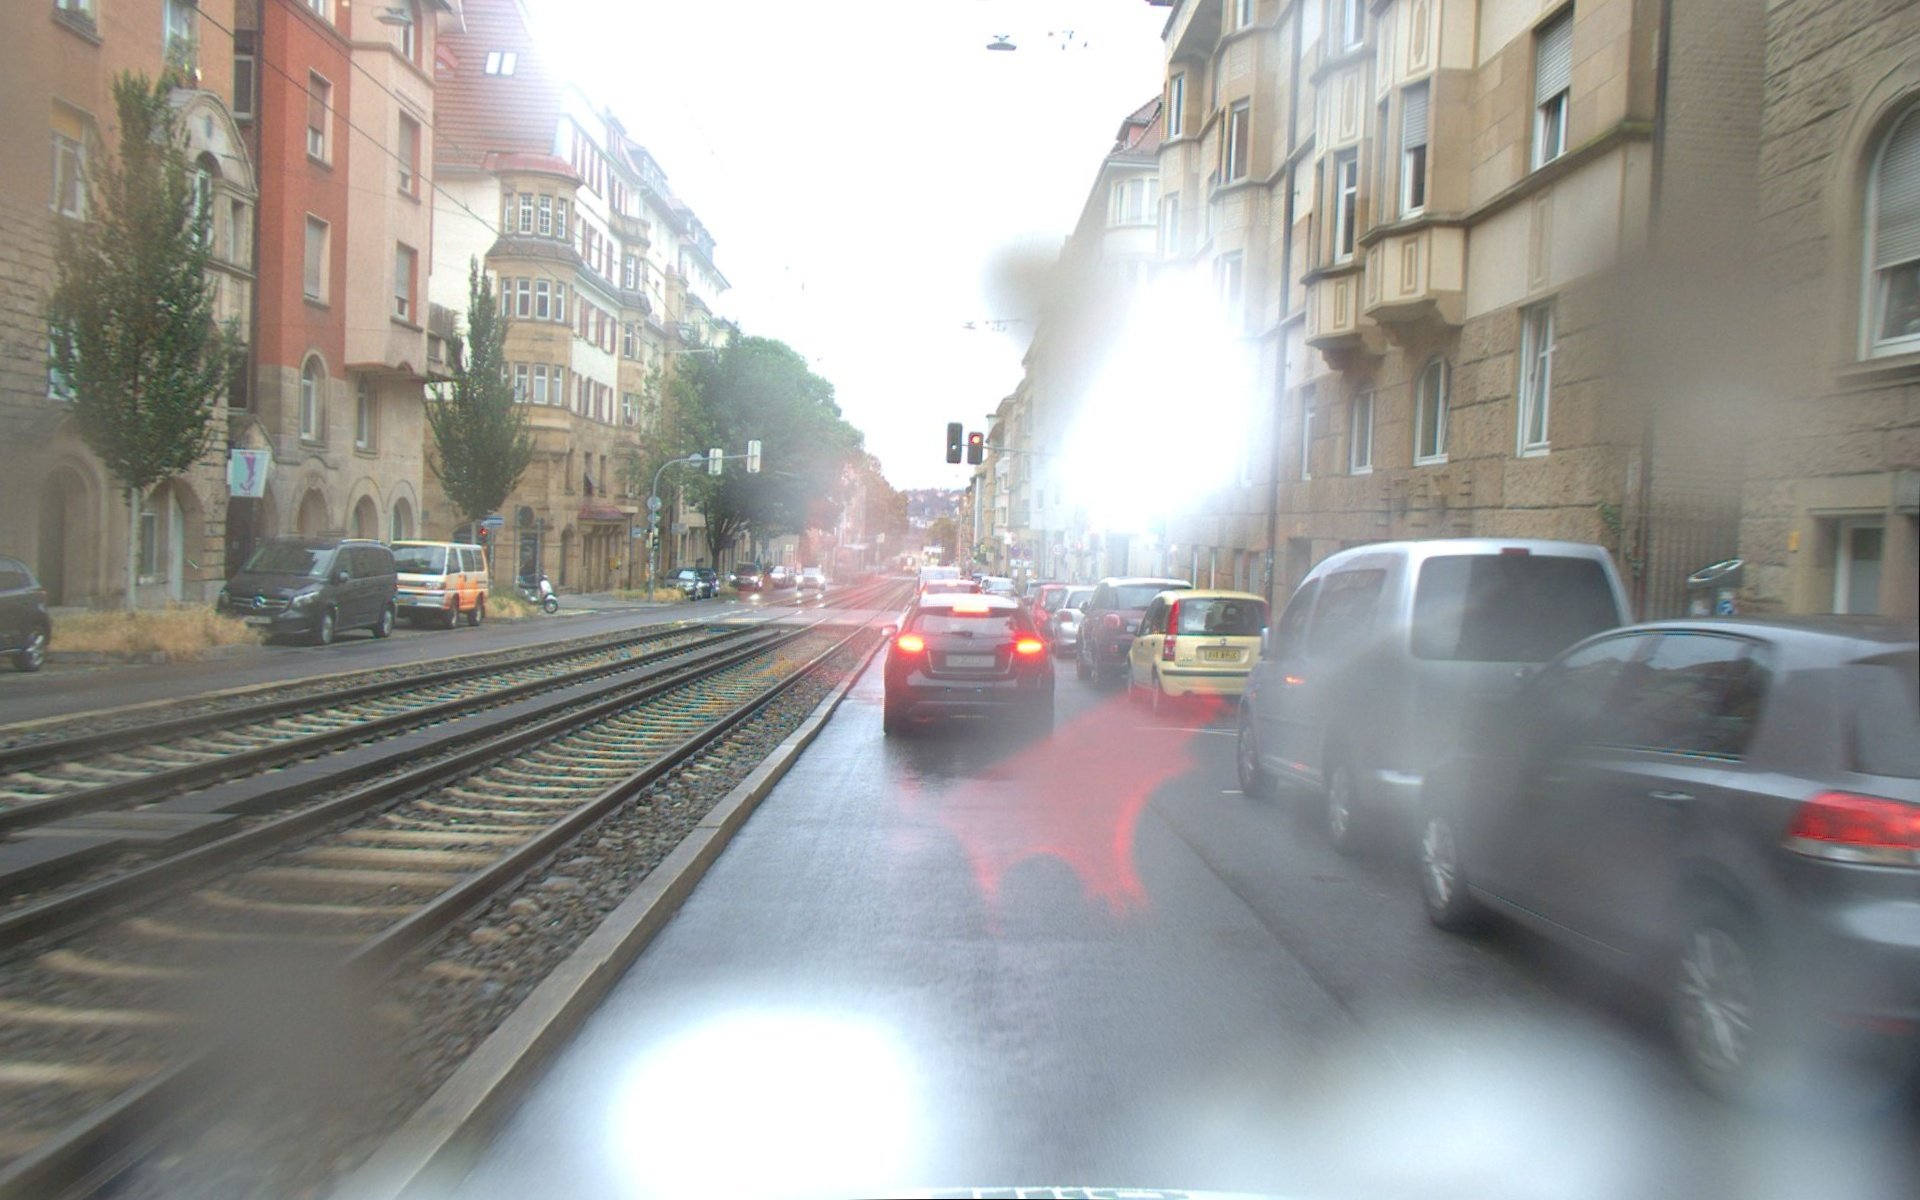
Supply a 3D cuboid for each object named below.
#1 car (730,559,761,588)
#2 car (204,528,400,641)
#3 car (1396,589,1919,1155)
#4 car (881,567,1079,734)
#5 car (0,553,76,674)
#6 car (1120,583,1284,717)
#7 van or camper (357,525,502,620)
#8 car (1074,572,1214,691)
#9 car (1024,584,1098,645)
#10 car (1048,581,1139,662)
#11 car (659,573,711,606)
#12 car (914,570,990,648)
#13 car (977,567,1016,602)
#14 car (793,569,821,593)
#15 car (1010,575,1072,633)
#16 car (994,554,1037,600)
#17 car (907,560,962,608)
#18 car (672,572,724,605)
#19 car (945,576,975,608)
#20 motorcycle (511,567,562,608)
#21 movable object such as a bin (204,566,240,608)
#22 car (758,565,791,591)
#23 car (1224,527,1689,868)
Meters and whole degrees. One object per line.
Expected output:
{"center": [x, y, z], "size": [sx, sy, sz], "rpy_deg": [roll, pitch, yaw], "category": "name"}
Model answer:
{"center": [-13.458, -1.666, 103.900], "size": [1.755, 1.721, 3.994], "rpy_deg": [2, 0, -6], "category": "car"}
{"center": [-12.261, -0.273, 31.194], "size": [1.954, 1.934, 4.696], "rpy_deg": [1, 0, -3], "category": "car"}
{"center": [3.232, 0.732, 6.332], "size": [1.953, 1.466, 3.998], "rpy_deg": [1, 0, -2], "category": "car"}
{"center": [0.144, 0.507, 17.988], "size": [1.907, 1.592, 3.641], "rpy_deg": [1, 0, -2], "category": "car"}
{"center": [-12.058, 0.127, 19.219], "size": [1.609, 1.422, 3.881], "rpy_deg": [2, 0, -4], "category": "car"}
{"center": [3.023, 0.582, 21.249], "size": [1.527, 1.504, 3.460], "rpy_deg": [3, 0, -1], "category": "car"}
{"center": [-12.387, -0.614, 38.951], "size": [1.954, 1.934, 4.696], "rpy_deg": [-5, 0, -3], "category": "van or camper"}
{"center": [2.816, 0.450, 26.020], "size": [1.676, 1.657, 4.000], "rpy_deg": [2, 0, 0], "category": "car"}
{"center": [2.581, 0.346, 42.685], "size": [1.570, 1.444, 3.147], "rpy_deg": [2, 0, -2], "category": "car"}
{"center": [2.809, 0.422, 35.377], "size": [1.604, 1.569, 3.465], "rpy_deg": [2, 1, 0], "category": "car"}
{"center": [-12.890, -0.479, 77.731], "size": [1.735, 1.489, 3.999], "rpy_deg": [1, 0, -1], "category": "car"}
{"center": [-0.172, 0.189, 36.070], "size": [1.504, 1.536, 3.999], "rpy_deg": [2, 0, 0], "category": "car"}
{"center": [1.978, -0.861, 91.413], "size": [1.733, 1.807, 3.996], "rpy_deg": [1, -1, -4], "category": "car"}
{"center": [-10.442, -1.291, 113.066], "size": [1.760, 1.575, 3.996], "rpy_deg": [-1, 0, -4], "category": "car"}
{"center": [2.320, 0.108, 48.178], "size": [1.518, 1.534, 4.000], "rpy_deg": [3, 0, 0], "category": "car"}
{"center": [2.662, -1.076, 79.561], "size": [1.860, 2.063, 4.175], "rpy_deg": [1, -1, -1], "category": "car"}
{"center": [-0.971, -0.606, 61.871], "size": [1.883, 1.684, 3.998], "rpy_deg": [2, 1, -3], "category": "car"}
{"center": [-13.109, -0.553, 83.050], "size": [1.953, 1.544, 4.000], "rpy_deg": [2, 0, -1], "category": "car"}
{"center": [-0.005, -0.476, 103.018], "size": [1.815, 1.829, 3.811], "rpy_deg": [1, -1, -1], "category": "car"}
{"center": [-12.661, -0.377, 49.475], "size": [1.409, 1.154, 0.619], "rpy_deg": [2, 0, 29], "category": "motorcycle"}
{"center": [-17.274, -0.304, 38.725], "size": [0.562, 0.972, 0.519], "rpy_deg": [2, 0, -1], "category": "movable object such as a bin"}
{"center": [-13.570, -1.604, 121.245], "size": [1.953, 1.825, 4.000], "rpy_deg": [2, 0, -1], "category": "car"}
{"center": [3.024, 0.512, 11.087], "size": [1.738, 1.807, 4.360], "rpy_deg": [1, 0, -1], "category": "car"}
